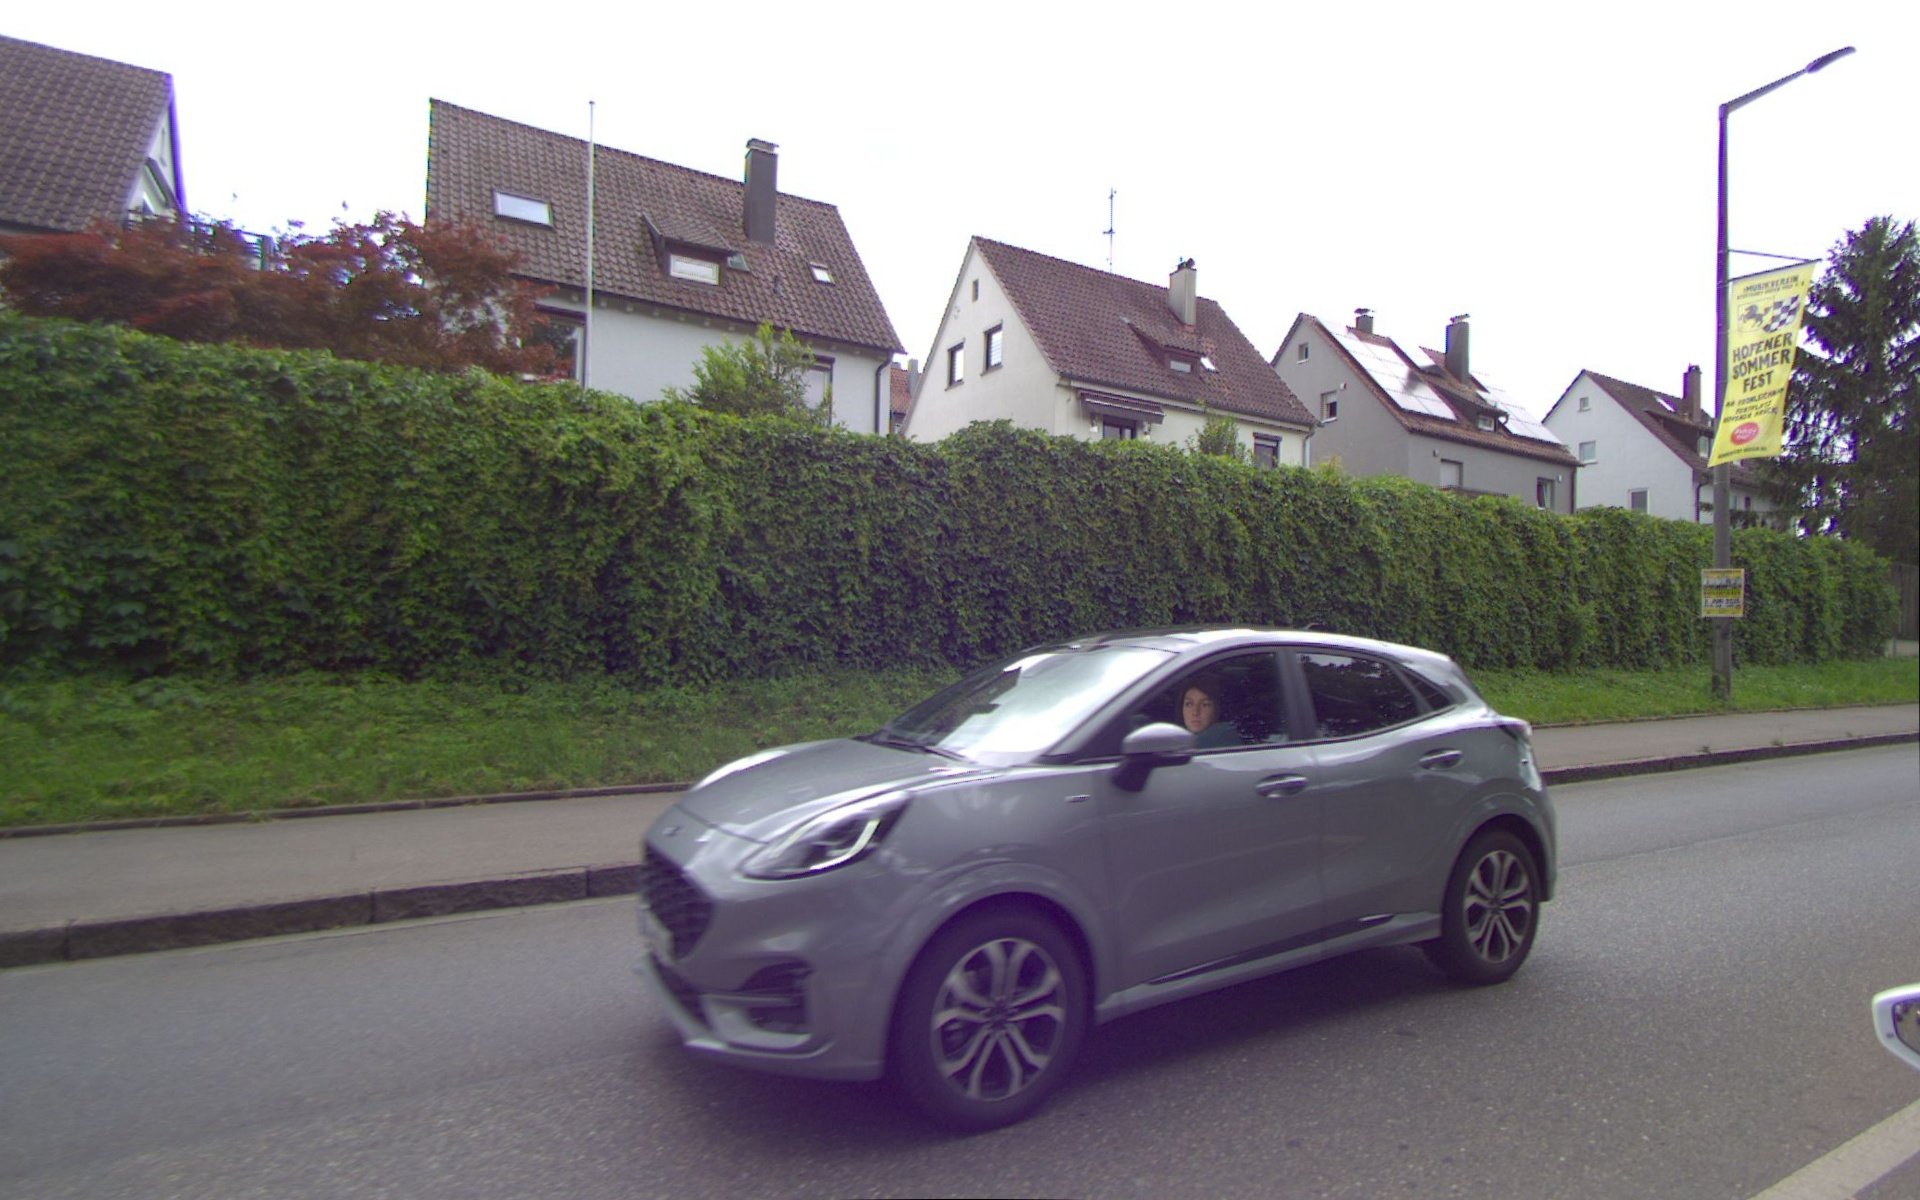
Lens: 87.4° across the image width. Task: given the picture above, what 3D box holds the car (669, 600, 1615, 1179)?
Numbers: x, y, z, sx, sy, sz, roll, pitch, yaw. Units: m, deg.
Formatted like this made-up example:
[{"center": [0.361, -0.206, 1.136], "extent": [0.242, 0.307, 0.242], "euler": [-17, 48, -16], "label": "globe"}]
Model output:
[{"center": [0.908, 0.863, 4.466], "extent": [3.953, 1.538, 1.744], "euler": [1, -4, -30], "label": "car"}]
